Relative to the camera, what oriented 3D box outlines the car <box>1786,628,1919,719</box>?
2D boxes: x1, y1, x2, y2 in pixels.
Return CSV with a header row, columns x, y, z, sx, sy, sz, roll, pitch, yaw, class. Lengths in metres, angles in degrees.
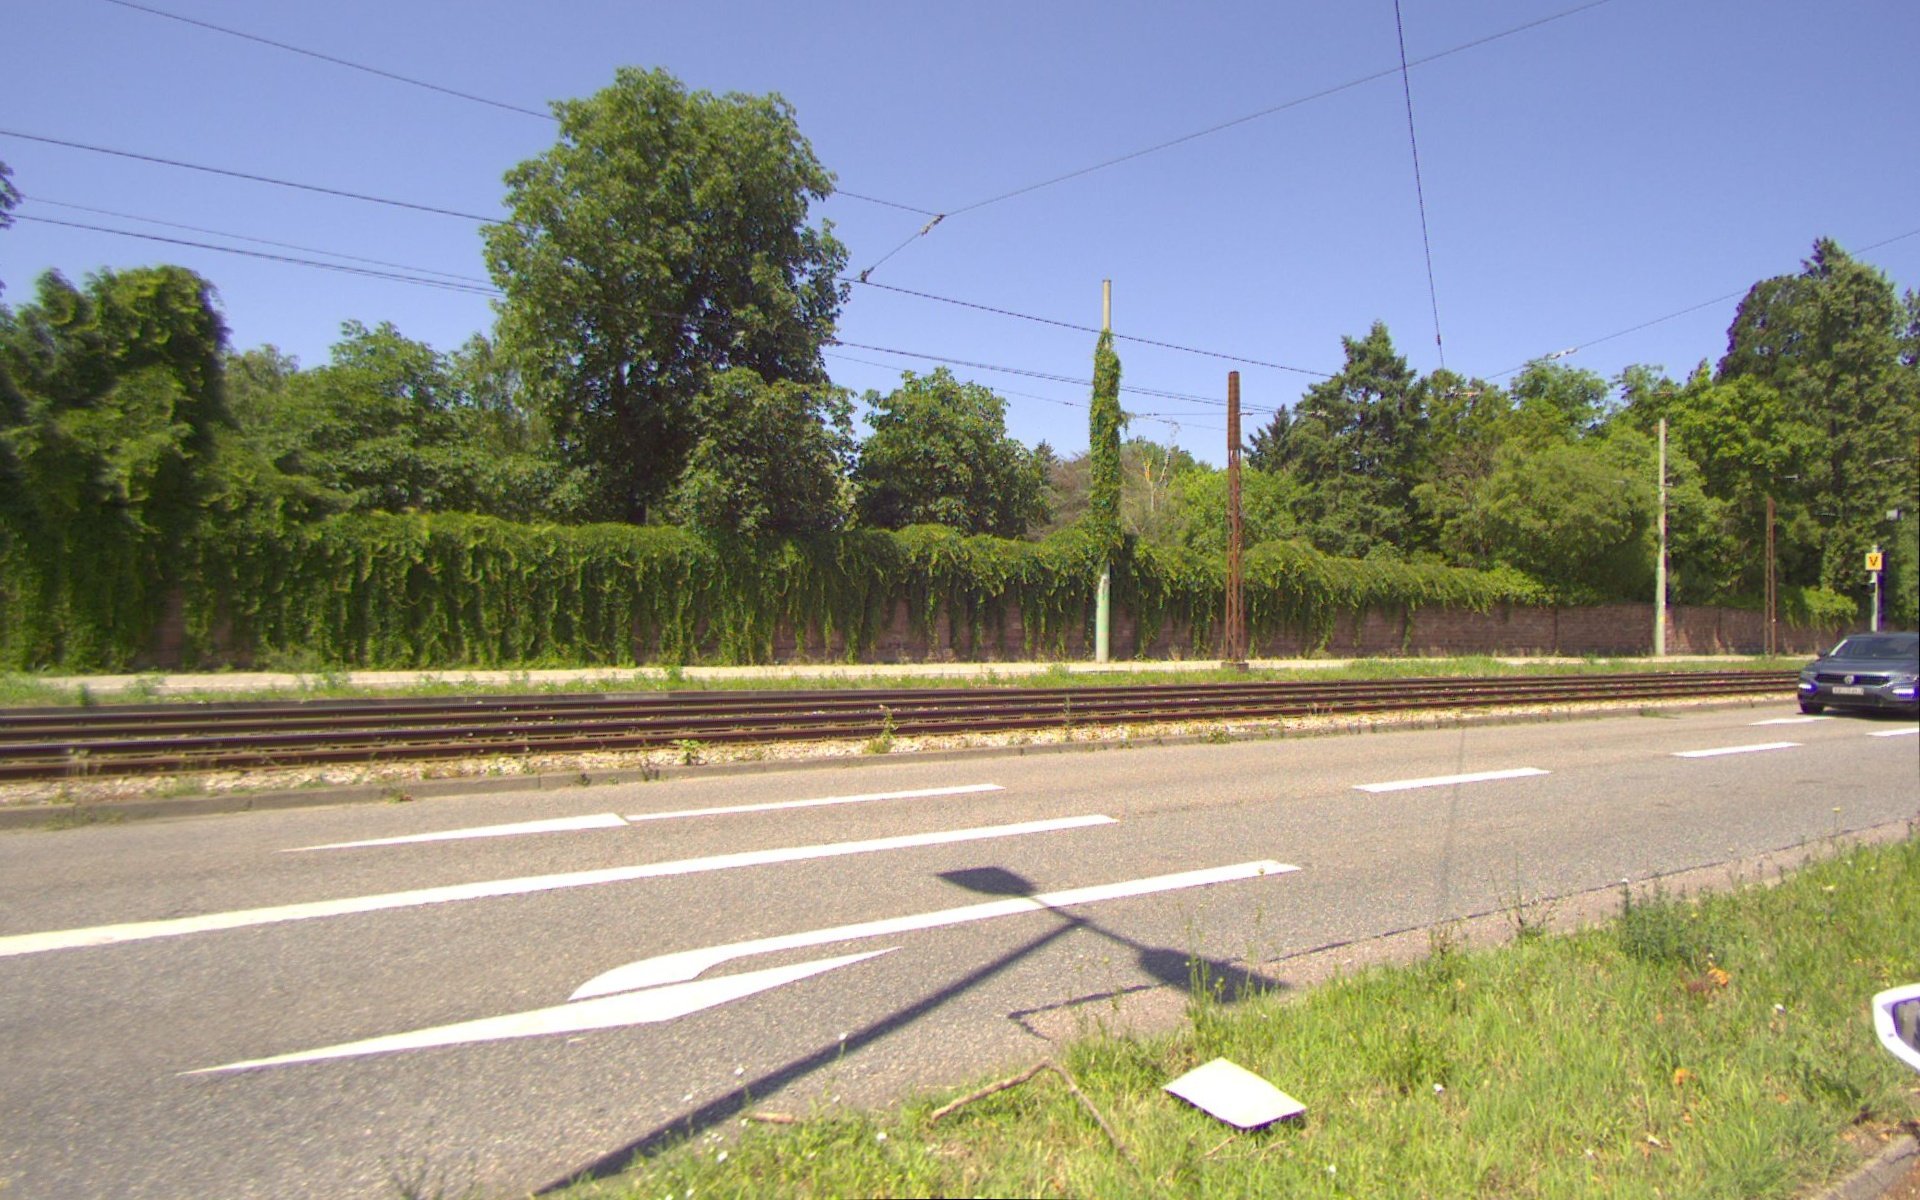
x,y,z,sx,sy,sz,roll,pitch,yaw,class
17.471,1.316,18.863,4.016,1.533,1.690,1,-1,-29,car
